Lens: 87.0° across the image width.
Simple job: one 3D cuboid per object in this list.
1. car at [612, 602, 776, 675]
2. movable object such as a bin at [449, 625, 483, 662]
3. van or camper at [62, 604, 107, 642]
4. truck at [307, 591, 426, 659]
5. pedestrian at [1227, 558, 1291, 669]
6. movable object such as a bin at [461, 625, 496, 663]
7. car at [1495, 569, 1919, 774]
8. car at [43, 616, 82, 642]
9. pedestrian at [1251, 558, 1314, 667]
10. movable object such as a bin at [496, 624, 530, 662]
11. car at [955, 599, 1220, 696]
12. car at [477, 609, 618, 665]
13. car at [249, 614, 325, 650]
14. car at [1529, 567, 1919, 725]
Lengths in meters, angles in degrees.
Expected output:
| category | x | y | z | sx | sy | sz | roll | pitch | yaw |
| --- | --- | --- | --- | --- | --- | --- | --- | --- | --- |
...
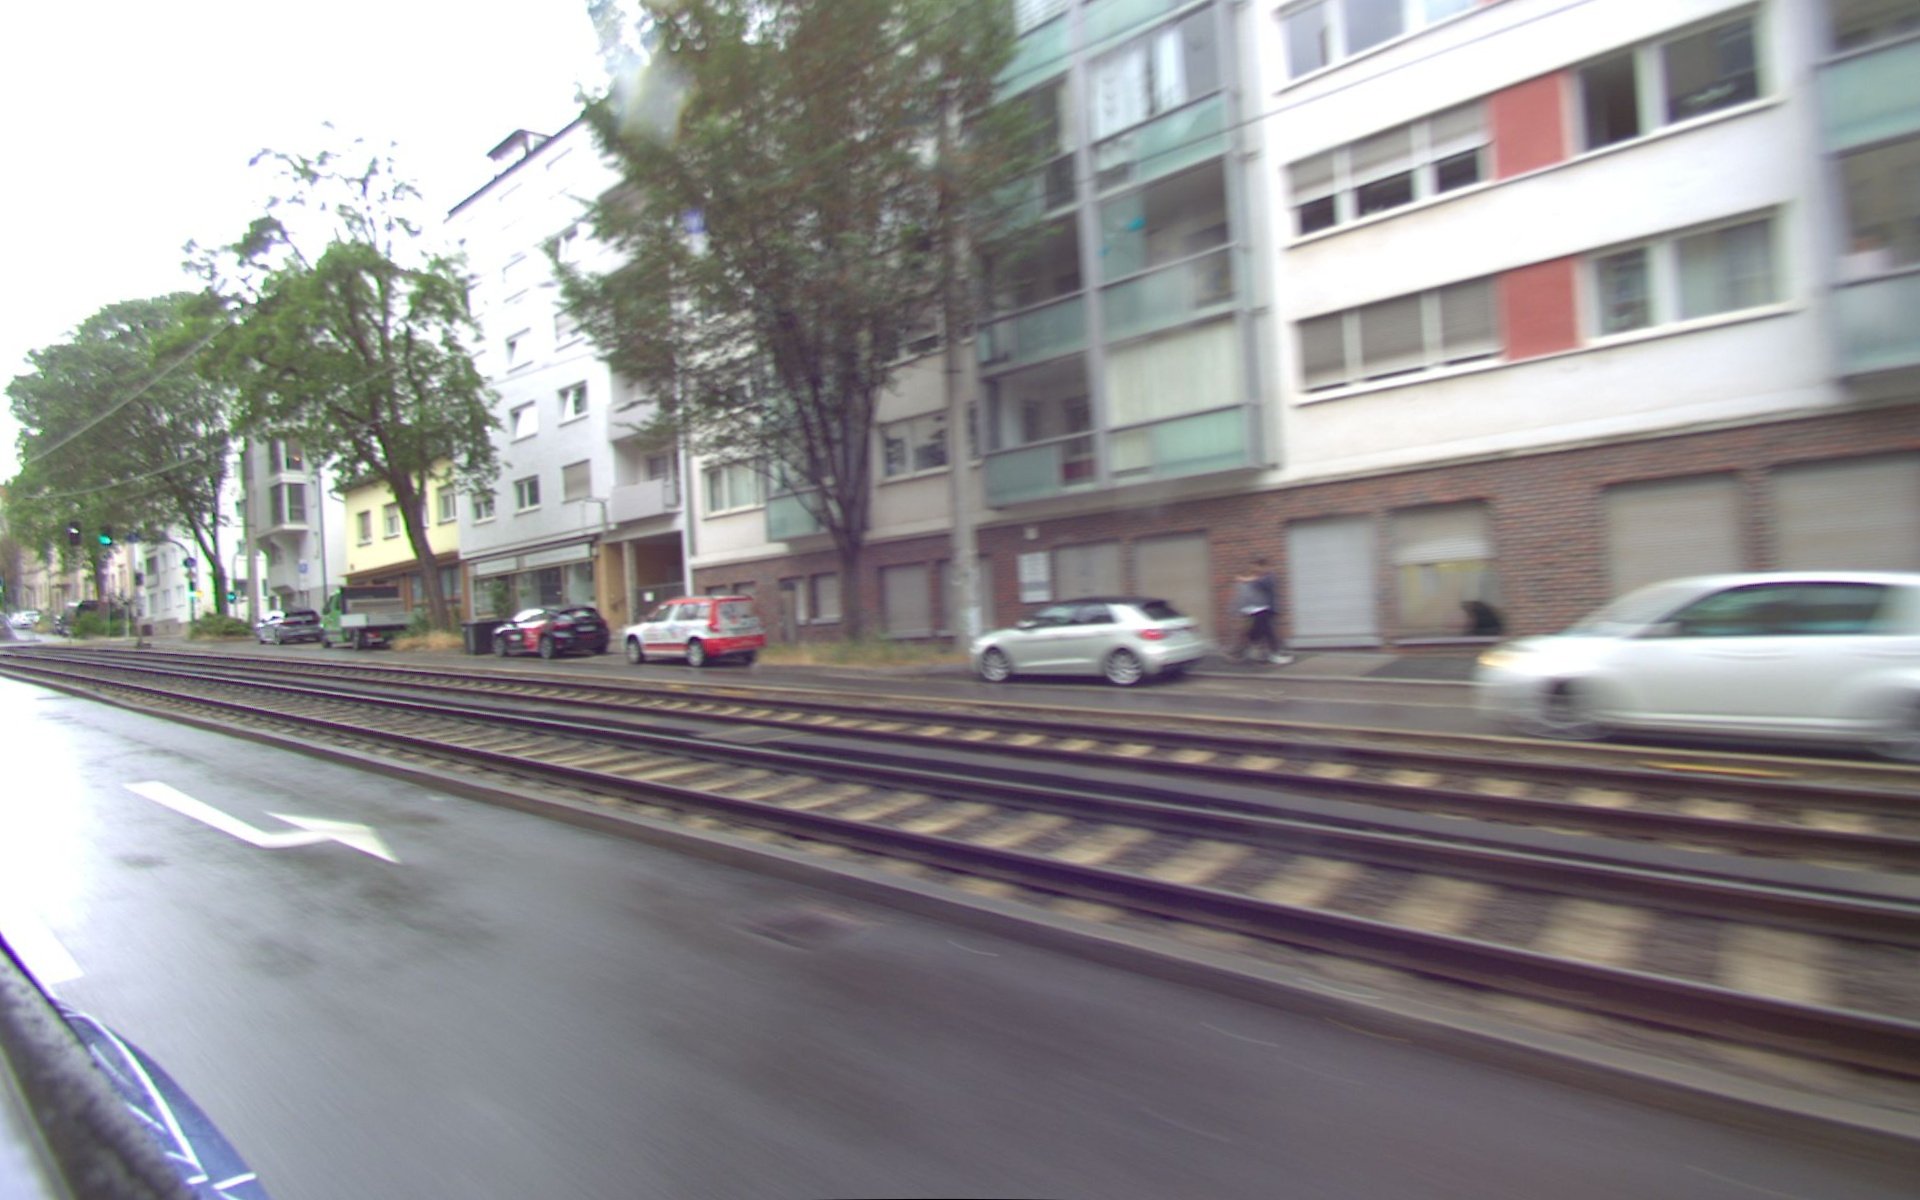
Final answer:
| category | x | y | z | sx | sy | sz | roll | pitch | yaw |
| --- | --- | --- | --- | --- | --- | --- | --- | --- | --- |
| car | -6.465 | 0.885 | 24.352 | 4.156 | 1.581 | 1.758 | -1 | 0 | 40 |
| movable object such as a bin | -15.390 | 1.350 | 31.505 | 0.670 | 1.130 | 0.718 | -2 | -1 | 35 |
| van or camper | -66.475 | 1.719 | 76.825 | 5.211 | 2.819 | 1.972 | -1 | 0 | 42 |
| truck | -22.626 | 0.869 | 38.422 | 6.352 | 2.363 | 2.168 | 0 | 0 | 43 |
| pedestrian | 4.943 | 0.211 | 16.742 | 0.782 | 1.785 | 0.666 | -1 | 0 | 41 |
| movable object such as a bin | -14.824 | 1.342 | 31.150 | 0.670 | 1.130 | 0.718 | -2 | -1 | 35 |
| car | 6.758 | 0.534 | 8.659 | 3.578 | 1.493 | 1.610 | -1 | 0 | 40 |
| car | -73.593 | 2.354 | 83.000 | 3.999 | 2.029 | 1.972 | -1 | 0 | 42 |
| pedestrian | 5.488 | 0.207 | 17.223 | 0.782 | 1.785 | 0.666 | -1 | 0 | 41 |
| movable object such as a bin | -13.829 | 1.330 | 31.300 | 0.670 | 1.130 | 0.718 | -2 | -1 | 35 |
| car | 2.040 | 0.740 | 16.917 | 4.128 | 1.345 | 1.685 | -1 | 2 | 41 |
| car | -11.929 | 1.043 | 29.117 | 4.465 | 1.451 | 1.887 | -1 | 0 | 40 |
| car | -29.953 | 1.405 | 45.000 | 4.358 | 1.471 | 1.687 | -1 | 1 | 41 |
| car | 8.876 | 0.450 | 10.986 | 4.427 | 1.465 | 1.783 | -2 | 1 | 40 |
